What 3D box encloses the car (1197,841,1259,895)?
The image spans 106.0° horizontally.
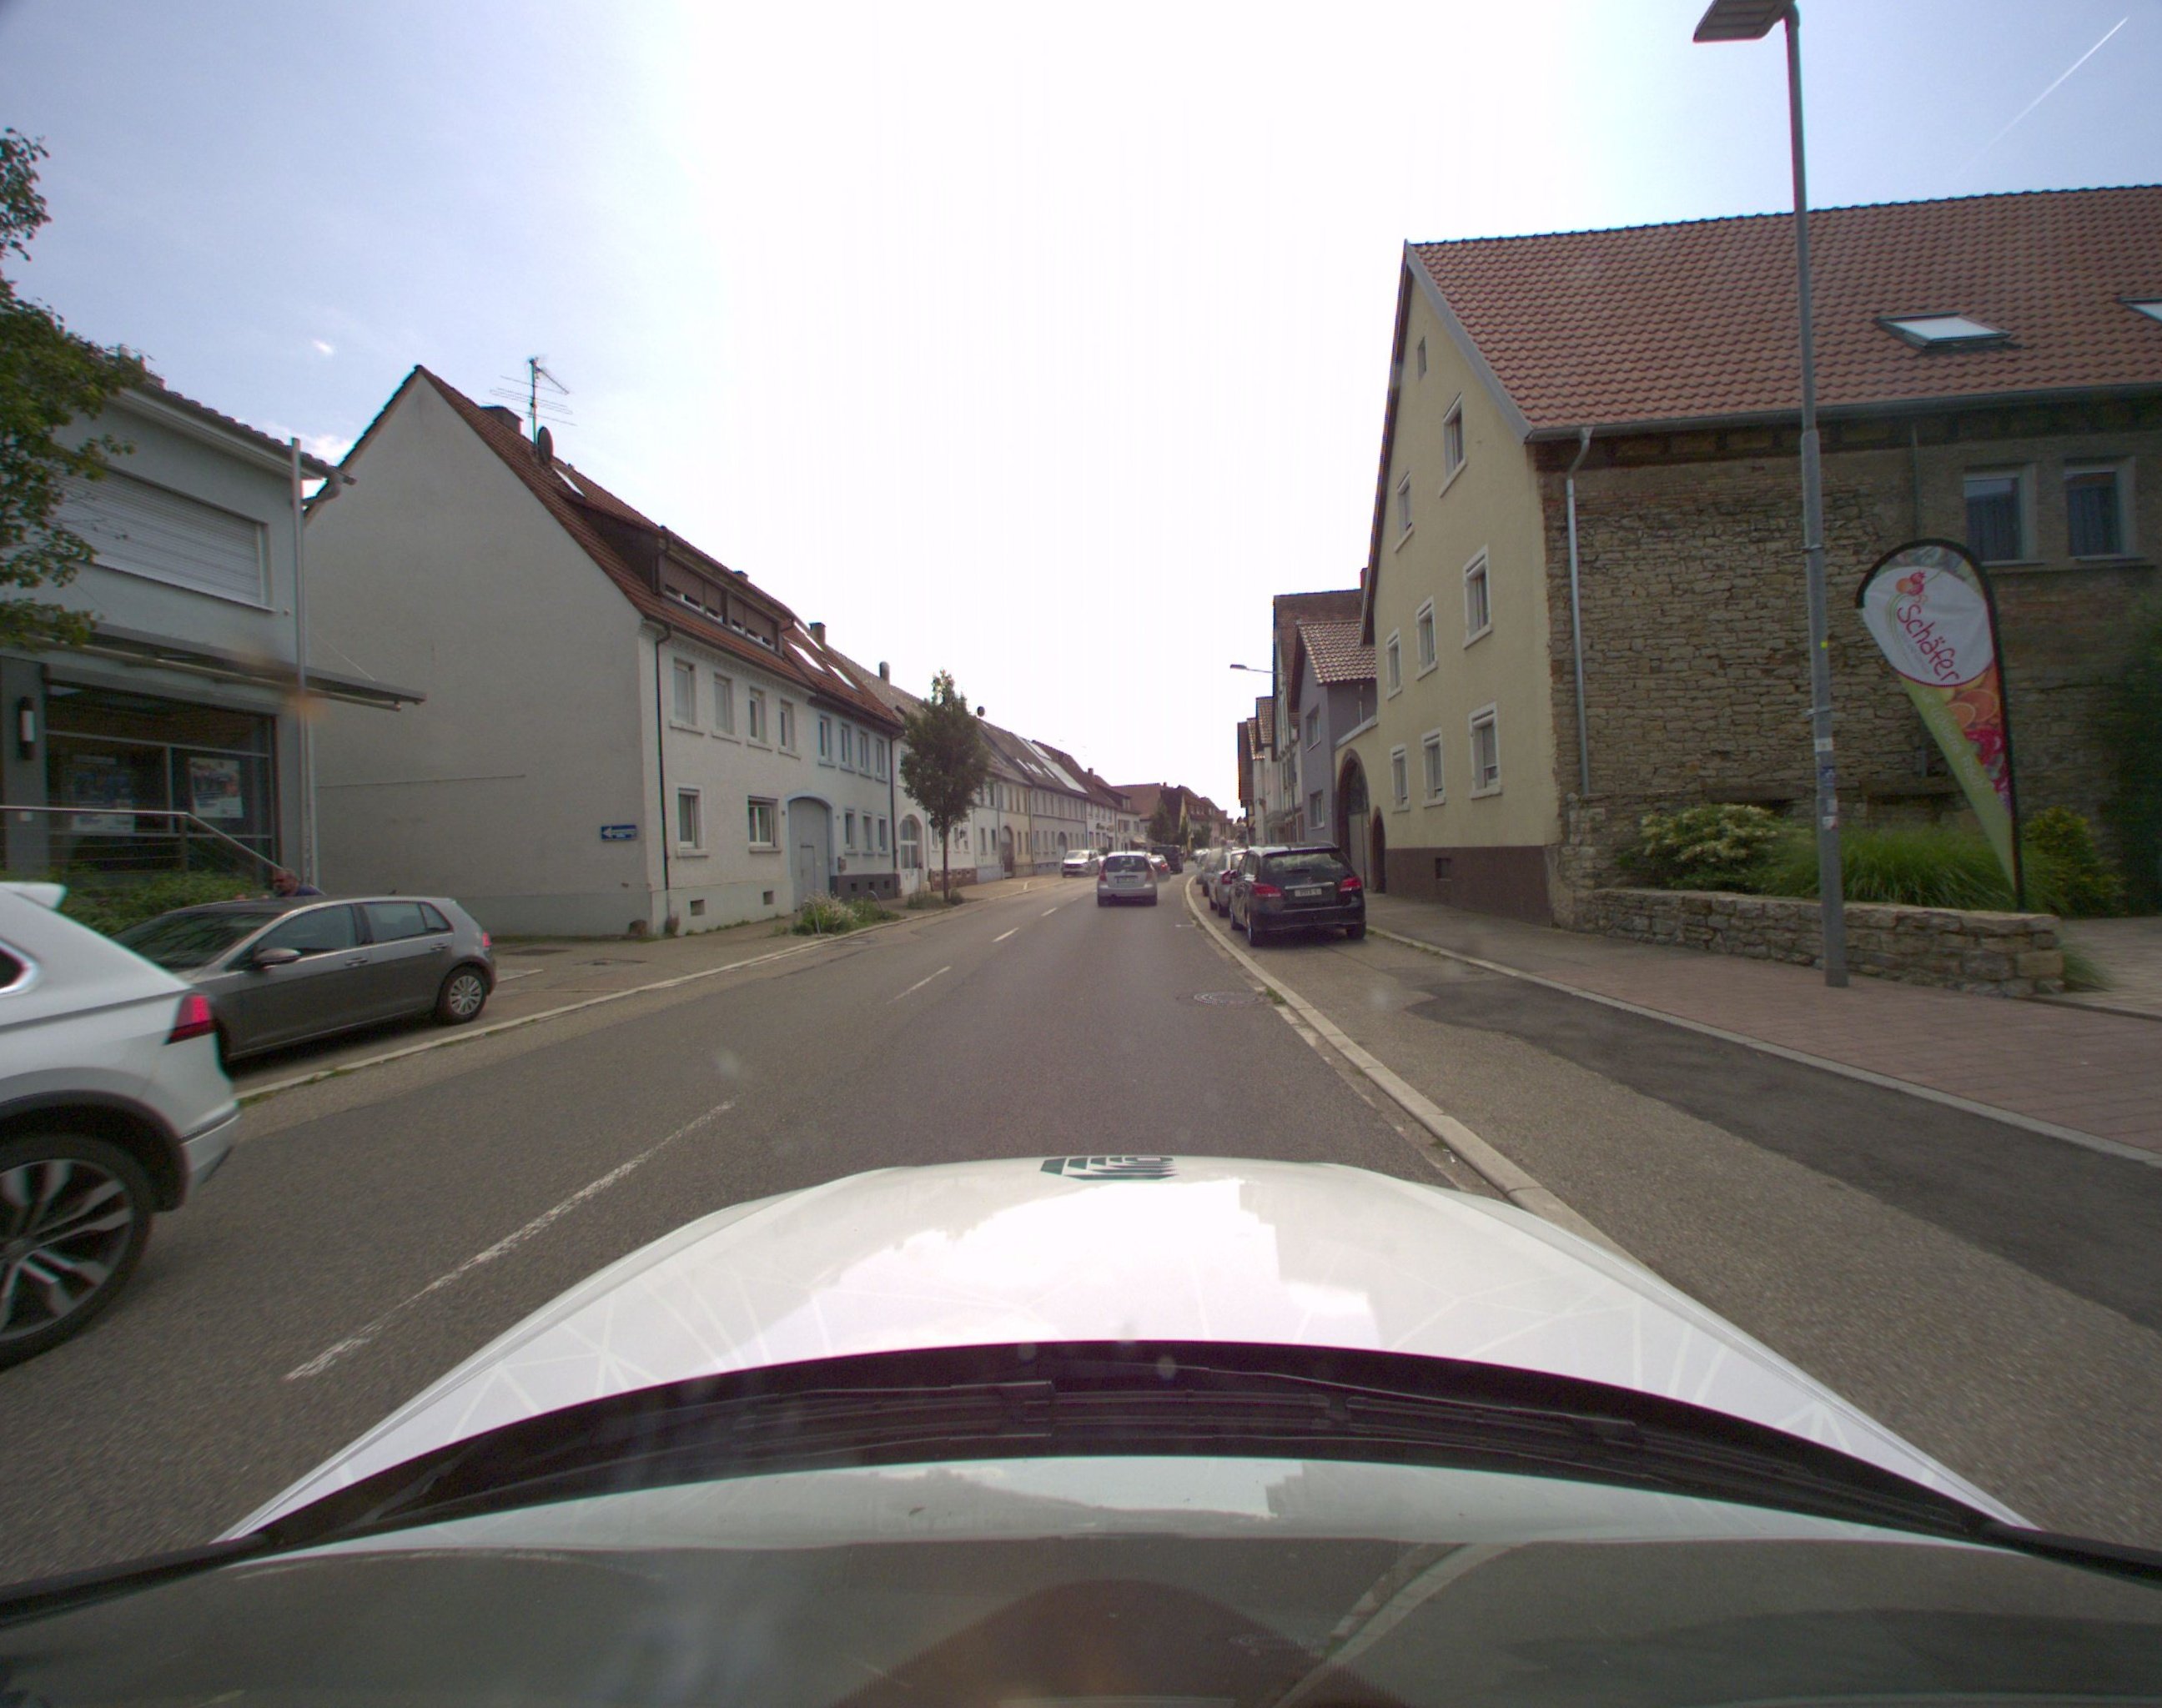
[{"bbox_3d":[5.052,0.452,28.417,1.850,1.626,4.206,-4,-1,8],"label":"car"}]

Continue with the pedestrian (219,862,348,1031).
[{"bbox_3d":[-9.014,1.018,9.228,0.736,1.801,0.642,-4,-1,1],"label":"pedestrian"}]

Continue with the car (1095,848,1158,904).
[{"bbox_3d":[1.433,0.650,25.242,1.761,1.594,4.004,-1,0,4],"label":"car"}]

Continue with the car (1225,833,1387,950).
[{"bbox_3d":[3.596,0.522,13.775,1.983,1.559,4.008,-4,0,7],"label":"car"}]

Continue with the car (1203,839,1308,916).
[{"bbox_3d":[4.019,0.516,19.404,1.852,1.531,4.202,-4,-1,5],"label":"car"}]

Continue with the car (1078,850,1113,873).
[{"bbox_3d":[1.204,0.604,65.662,1.981,1.706,4.012,-4,-1,11],"label":"car"}]

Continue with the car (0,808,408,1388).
[{"bbox_3d":[-4.379,0.815,1.626,1.947,1.784,4.655,-4,0,3],"label":"car"}]

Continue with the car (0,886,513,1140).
[{"bbox_3d":[-7.610,1.151,7.407,1.797,1.460,4.161,-2,0,2],"label":"car"}]

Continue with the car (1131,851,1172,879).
[{"bbox_3d":[3.825,0.586,43.668,1.934,1.407,4.009,-1,0,8],"label":"car"}]

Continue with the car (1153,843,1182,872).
[{"bbox_3d":[6.094,0.247,57.156,1.758,1.888,4.458,-1,0,9],"label":"car"}]

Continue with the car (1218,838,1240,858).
[{"bbox_3d":[18.034,-0.775,98.867,2.220,2.222,4.015,-4,-1,14],"label":"car"}]

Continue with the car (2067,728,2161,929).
[{"bbox_3d":[12.966,-0.381,7.697,5.039,1.950,1.998,-3,0,-3],"label":"car"}]

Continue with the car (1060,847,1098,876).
[{"bbox_3d":[-0.103,0.494,58.409,2.080,1.884,4.009,-3,0,8],"label":"car"}]

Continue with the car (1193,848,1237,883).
[{"bbox_3d":[6.163,0.515,37.798,1.850,1.463,3.457,-4,-1,8],"label":"car"}]

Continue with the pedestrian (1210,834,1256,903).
[{"bbox_3d":[4.249,0.380,22.644,1.087,1.821,1.475,-3,0,13],"label":"pedestrian"}]

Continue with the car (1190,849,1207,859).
[{"bbox_3d":[16.437,-0.058,113.654,1.692,1.269,4.017,-4,-1,16],"label":"car"}]
